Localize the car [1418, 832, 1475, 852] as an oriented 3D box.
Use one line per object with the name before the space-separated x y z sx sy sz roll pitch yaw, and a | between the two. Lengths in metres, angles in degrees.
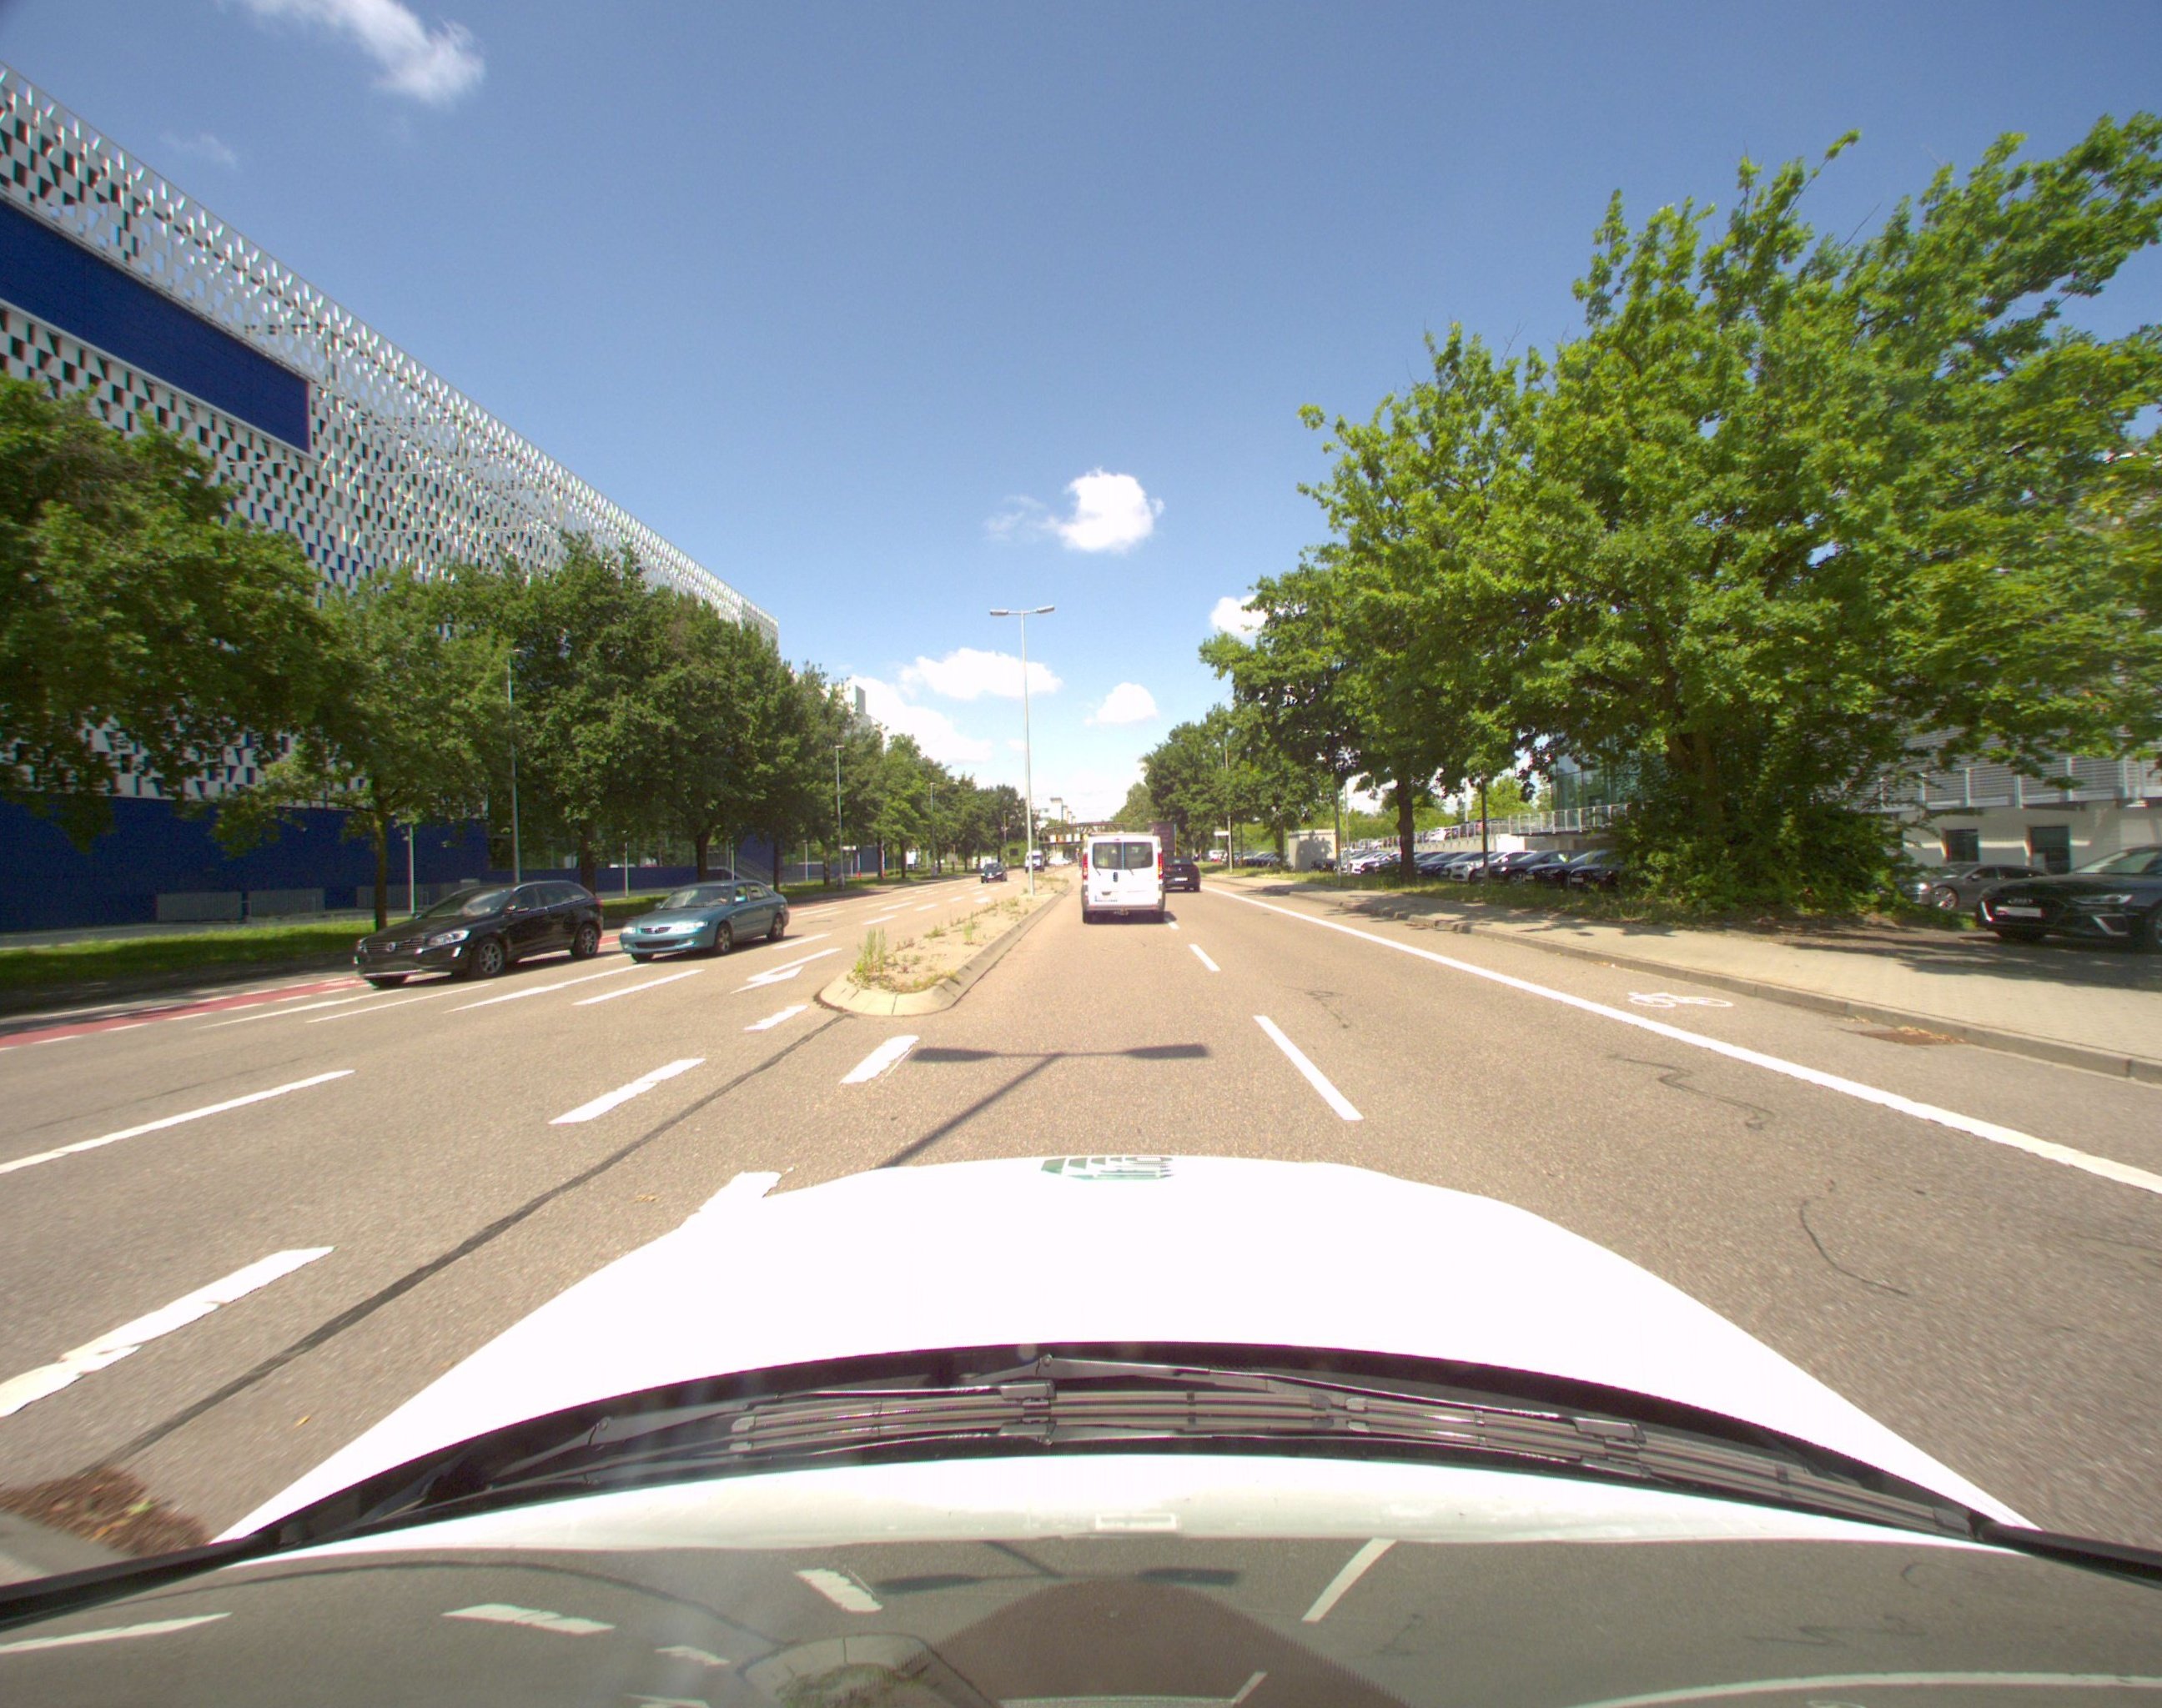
car | 33.348 -1.088 74.390 4.335 1.774 1.938 -1 1 4

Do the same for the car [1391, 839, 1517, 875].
car | 15.951 0.123 34.981 4.558 1.404 1.908 -1 1 1

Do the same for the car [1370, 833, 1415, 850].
car | 34.259 -1.346 89.655 4.335 1.774 1.938 -1 1 4

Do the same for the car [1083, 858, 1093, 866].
car | 1.515 1.771 182.307 1.985 1.771 4.003 -1 1 3

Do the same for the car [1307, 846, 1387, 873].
car | 16.534 0.333 50.745 4.338 1.513 1.856 -2 -1 2

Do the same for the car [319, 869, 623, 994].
car | -10.967 1.267 15.243 1.921 1.755 4.821 -4 0 0

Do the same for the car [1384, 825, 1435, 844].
car | 32.982 -1.941 81.879 4.335 1.774 1.938 -1 1 4

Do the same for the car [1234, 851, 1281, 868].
car | 17.585 0.530 81.260 4.341 1.512 1.936 -1 1 0

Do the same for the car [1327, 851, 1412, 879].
car | 15.941 0.591 45.144 4.092 1.404 1.818 -2 0 1

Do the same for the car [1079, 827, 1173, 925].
car | 1.078 0.454 19.816 1.965 2.059 4.568 -1 1 2

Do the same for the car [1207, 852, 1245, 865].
car | 17.689 0.564 99.652 4.341 1.512 1.936 -1 1 0

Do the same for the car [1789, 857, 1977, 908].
car | 26.625 0.939 27.144 4.331 1.499 1.907 -2 -1 1

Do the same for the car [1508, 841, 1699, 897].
car | 15.798 0.457 24.798 4.558 1.499 1.907 -2 -1 1

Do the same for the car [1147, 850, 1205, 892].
car | 3.989 0.668 34.798 1.770 1.629 3.995 -1 1 -4

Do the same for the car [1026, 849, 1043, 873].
car | -5.915 0.919 104.015 2.018 2.893 6.375 -2 -1 -3

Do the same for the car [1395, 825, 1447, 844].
car | 33.107 -1.920 79.341 4.335 1.774 1.938 -1 1 4

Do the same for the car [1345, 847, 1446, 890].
car | 16.345 0.738 42.492 4.558 2.049 1.908 -1 1 1

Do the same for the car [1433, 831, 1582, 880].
car | 15.682 0.046 30.110 4.558 1.678 1.908 -1 1 1

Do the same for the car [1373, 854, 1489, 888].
car | 16.082 0.765 37.605 4.558 1.404 1.908 -1 1 1

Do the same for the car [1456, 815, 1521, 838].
car | 33.122 -2.236 66.306 4.335 1.774 1.938 -1 1 4

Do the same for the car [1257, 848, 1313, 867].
car | 17.619 0.316 70.381 4.341 1.512 1.936 -1 1 0

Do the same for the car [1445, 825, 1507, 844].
car | 33.439 -1.650 69.086 4.335 1.551 1.938 -1 1 4

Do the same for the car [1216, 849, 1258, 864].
car | 17.520 0.290 91.573 4.341 1.512 1.936 -1 1 0

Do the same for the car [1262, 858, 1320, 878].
car | 17.520 1.142 67.917 4.341 1.512 1.936 -1 1 0

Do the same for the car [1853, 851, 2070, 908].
car | 26.141 0.740 24.296 4.331 1.499 1.907 -2 -1 1

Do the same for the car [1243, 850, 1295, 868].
car | 17.404 0.480 75.592 4.341 1.512 1.936 -1 1 0

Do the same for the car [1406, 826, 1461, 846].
car | 33.227 -1.726 76.876 4.335 1.774 1.938 -1 1 4

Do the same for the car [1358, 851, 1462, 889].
car | 16.128 0.774 40.097 4.332 1.512 1.786 4 1 1

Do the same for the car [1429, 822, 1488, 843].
car | 33.257 -1.915 71.747 4.335 1.774 1.938 -1 1 4

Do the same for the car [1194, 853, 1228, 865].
car | 17.624 0.719 110.538 4.341 1.512 1.936 -1 1 0

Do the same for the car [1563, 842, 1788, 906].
car | 15.729 0.520 21.738 4.558 1.499 1.907 -2 -1 1

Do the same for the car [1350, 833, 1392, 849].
car | 33.895 -1.566 95.292 4.335 1.774 1.938 -1 1 4

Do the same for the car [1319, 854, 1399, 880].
car | 16.369 0.729 48.048 4.091 1.445 1.856 -1 0 2

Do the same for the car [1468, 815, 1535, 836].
car | 32.977 -2.211 63.939 4.335 1.551 1.938 -1 1 4

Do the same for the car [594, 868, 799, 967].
car | -7.597 1.154 16.722 1.767 1.548 4.821 -4 0 1

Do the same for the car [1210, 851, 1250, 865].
car | 17.570 0.461 96.356 4.341 1.512 1.936 -1 1 0

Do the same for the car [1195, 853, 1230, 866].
car | 17.224 0.700 106.716 4.341 1.512 1.936 -1 1 0

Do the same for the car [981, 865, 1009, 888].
car | -6.840 1.785 65.167 1.733 1.610 4.239 -5 0 -1

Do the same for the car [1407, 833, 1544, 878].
car | 15.687 0.027 32.529 4.558 1.678 1.908 -1 1 1

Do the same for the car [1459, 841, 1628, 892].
car | 15.436 0.404 27.357 4.558 1.499 1.907 -2 -1 1

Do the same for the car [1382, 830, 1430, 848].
car | 33.748 -1.591 84.634 4.335 1.774 1.938 -1 1 4

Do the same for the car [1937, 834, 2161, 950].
car | 14.669 0.447 10.814 4.558 1.404 1.908 0 1 1
